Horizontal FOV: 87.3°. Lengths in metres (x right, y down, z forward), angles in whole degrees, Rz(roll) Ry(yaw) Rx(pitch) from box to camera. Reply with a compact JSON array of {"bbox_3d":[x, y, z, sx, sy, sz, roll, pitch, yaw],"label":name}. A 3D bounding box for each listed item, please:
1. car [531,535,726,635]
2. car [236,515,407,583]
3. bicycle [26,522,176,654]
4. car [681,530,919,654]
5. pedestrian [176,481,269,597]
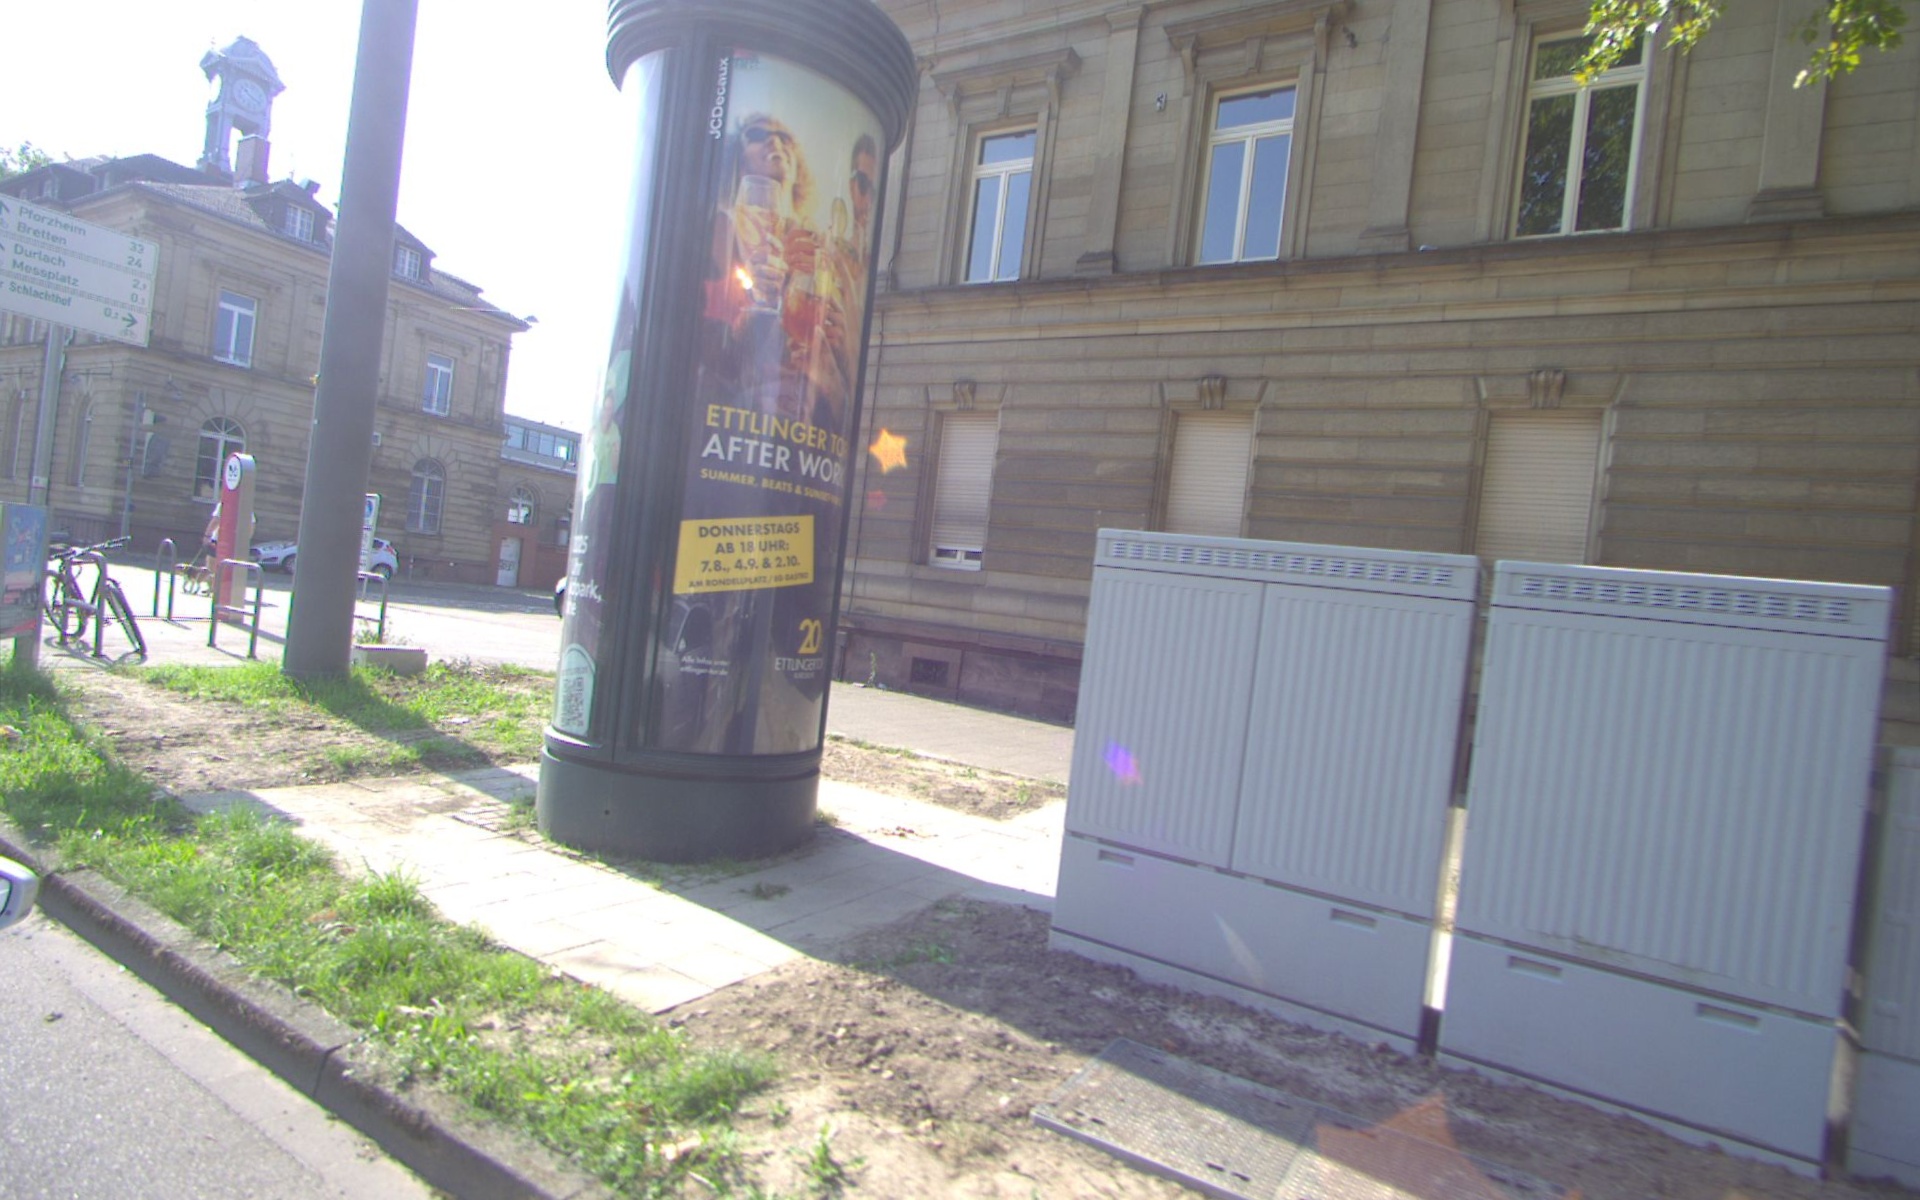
[{"bbox_3d":[-7.572,-0.355,22.885,4.155,1.806,1.905,6,1,32],"label":"car"},{"bbox_3d":[-19.338,-1.506,30.599,1.640,1.556,3.997,6,0,37],"label":"car"},{"bbox_3d":[-7.730,-0.118,9.037,1.545,1.019,0.538,6,1,32],"label":"bicycle"},{"bbox_3d":[-4.062,-0.221,25.442,5.391,2.452,2.264,7,0,25],"label":"car"},{"bbox_3d":[-12.096,-0.987,16.514,0.659,1.758,0.869,7,0,22],"label":"pedestrian"}]
